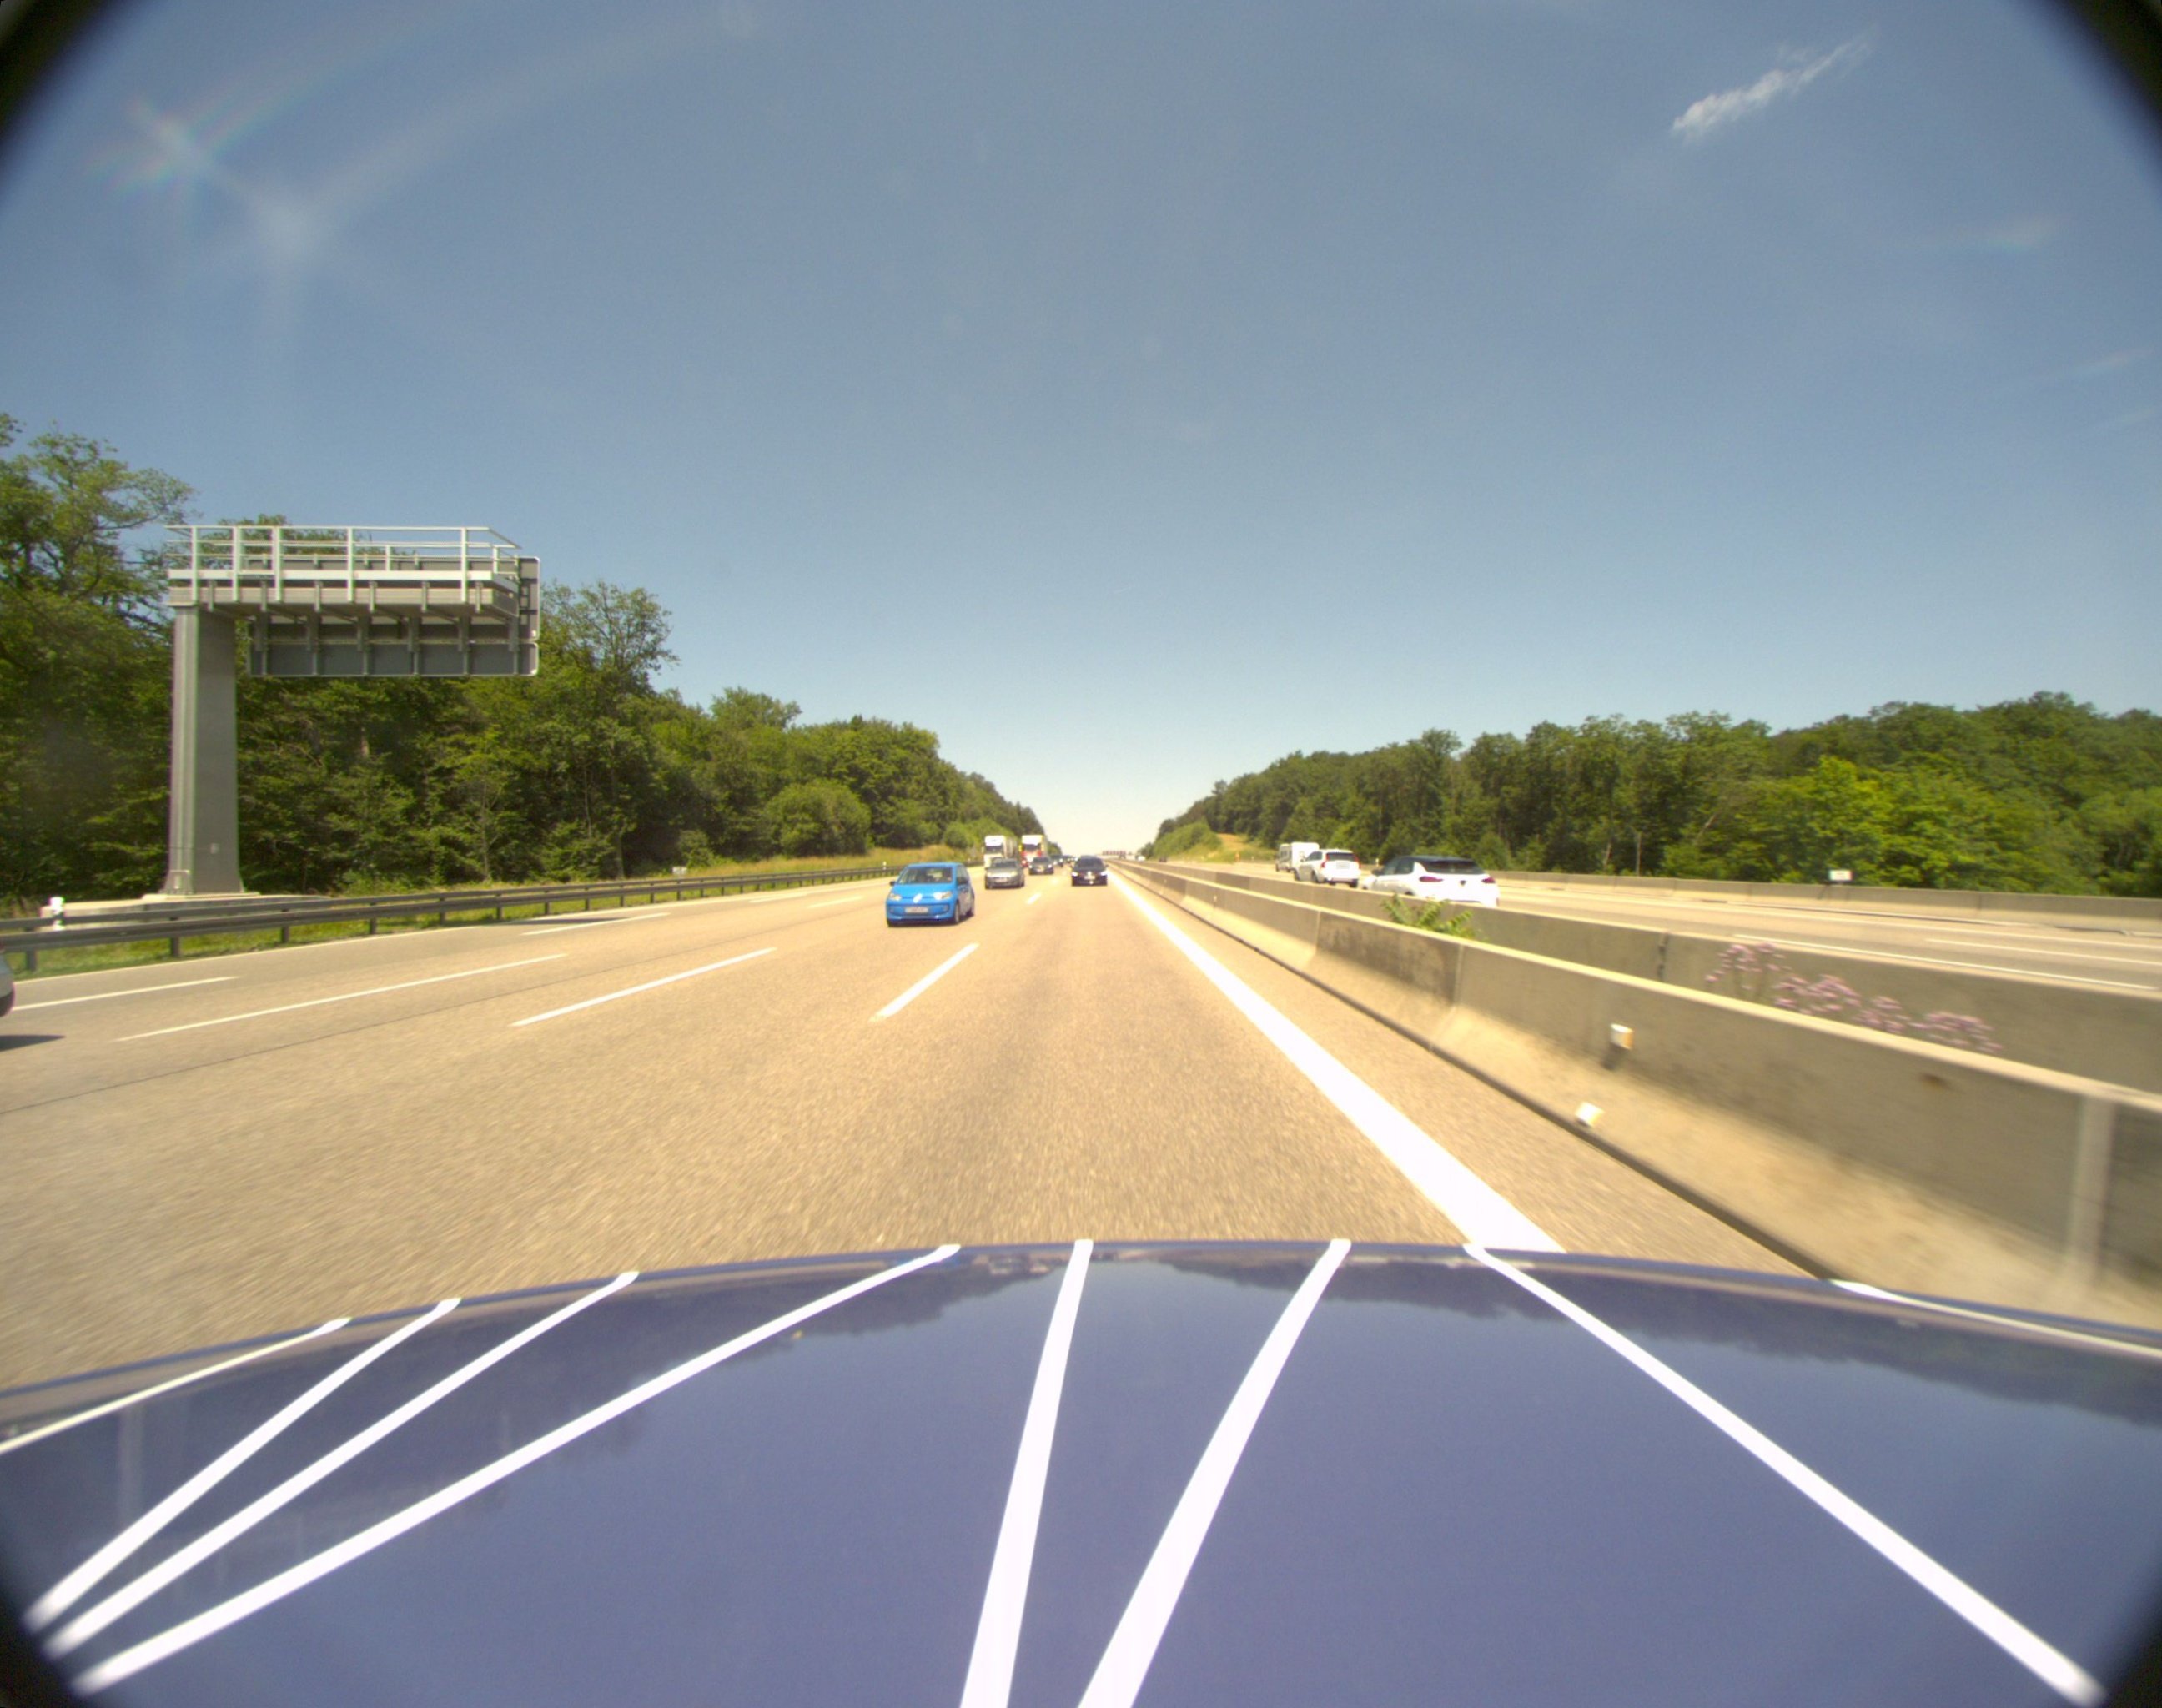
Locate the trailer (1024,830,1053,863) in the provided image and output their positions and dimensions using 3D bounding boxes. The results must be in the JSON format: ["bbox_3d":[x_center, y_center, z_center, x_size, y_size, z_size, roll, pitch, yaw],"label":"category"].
[{"bbox_3d":[-5.753,-0.884,105.917,2.926,4.118,14.851,0,-1,1],"label":"trailer"}]

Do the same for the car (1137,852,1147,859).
[{"bbox_3d":[13.448,0.264,167.197,1.843,1.433,3.999,0,0,0],"label":"car"}]

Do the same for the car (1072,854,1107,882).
[{"bbox_3d":[0.469,0.770,41.890,1.777,1.425,4.144,-2,-1,1],"label":"car"}]

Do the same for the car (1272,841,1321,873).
[{"bbox_3d":[19.561,0.234,69.434,2.227,2.643,8.175,1,0,1],"label":"car"}]

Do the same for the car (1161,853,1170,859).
[{"bbox_3d":[21.687,0.489,195.729,1.843,1.433,4.763,2,0,0],"label":"car"}]

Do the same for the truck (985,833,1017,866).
[{"bbox_3d":[-10.445,-0.515,100.226,2.728,4.136,10.971,-2,-1,1],"label":"truck"}]

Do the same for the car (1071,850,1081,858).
[{"bbox_3d":[-1.035,-0.012,158.392,1.715,1.308,3.489,-7,2,1],"label":"car"}]

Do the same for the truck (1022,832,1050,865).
[{"bbox_3d":[-5.832,-0.639,98.969,3.018,3.957,7.541,-1,-1,1],"label":"truck"}]

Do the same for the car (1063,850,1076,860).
[{"bbox_3d":[-1.821,0.115,124.213,1.910,1.503,4.160,-2,-1,2],"label":"car"}]

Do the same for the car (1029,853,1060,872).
[{"bbox_3d":[-2.859,0.692,60.840,1.971,1.444,5.226,-1,-1,3],"label":"car"}]

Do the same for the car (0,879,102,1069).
[{"bbox_3d":[-10.850,1.117,5.067,1.805,1.721,5.240,-2,-1,1],"label":"car"}]

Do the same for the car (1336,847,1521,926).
[{"bbox_3d":[7.706,0.623,17.576,1.853,1.514,5.318,1,0,0],"label":"car"}]

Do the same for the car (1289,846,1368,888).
[{"bbox_3d":[11.445,0.558,35.591,1.998,1.777,5.318,1,0,0],"label":"car"}]

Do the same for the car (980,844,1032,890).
[{"bbox_3d":[-3.639,0.613,37.663,1.966,2.041,4.784,-2,0,1],"label":"car"}]

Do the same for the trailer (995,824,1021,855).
[{"bbox_3d":[-10.375,-2.013,108.320,2.585,4.045,8.384,-2,0,1],"label":"trailer"}]

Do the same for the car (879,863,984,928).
[{"bbox_3d":[-3.601,0.952,19.023,1.741,1.403,4.000,-1,0,1],"label":"car"}]

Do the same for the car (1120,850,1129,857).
[{"bbox_3d":[9.961,-0.171,172.939,1.843,1.433,4.844,0,0,0],"label":"car"}]

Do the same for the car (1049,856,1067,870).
[{"bbox_3d":[-2.761,1.094,91.259,1.910,1.503,4.160,-2,-1,2],"label":"car"}]
